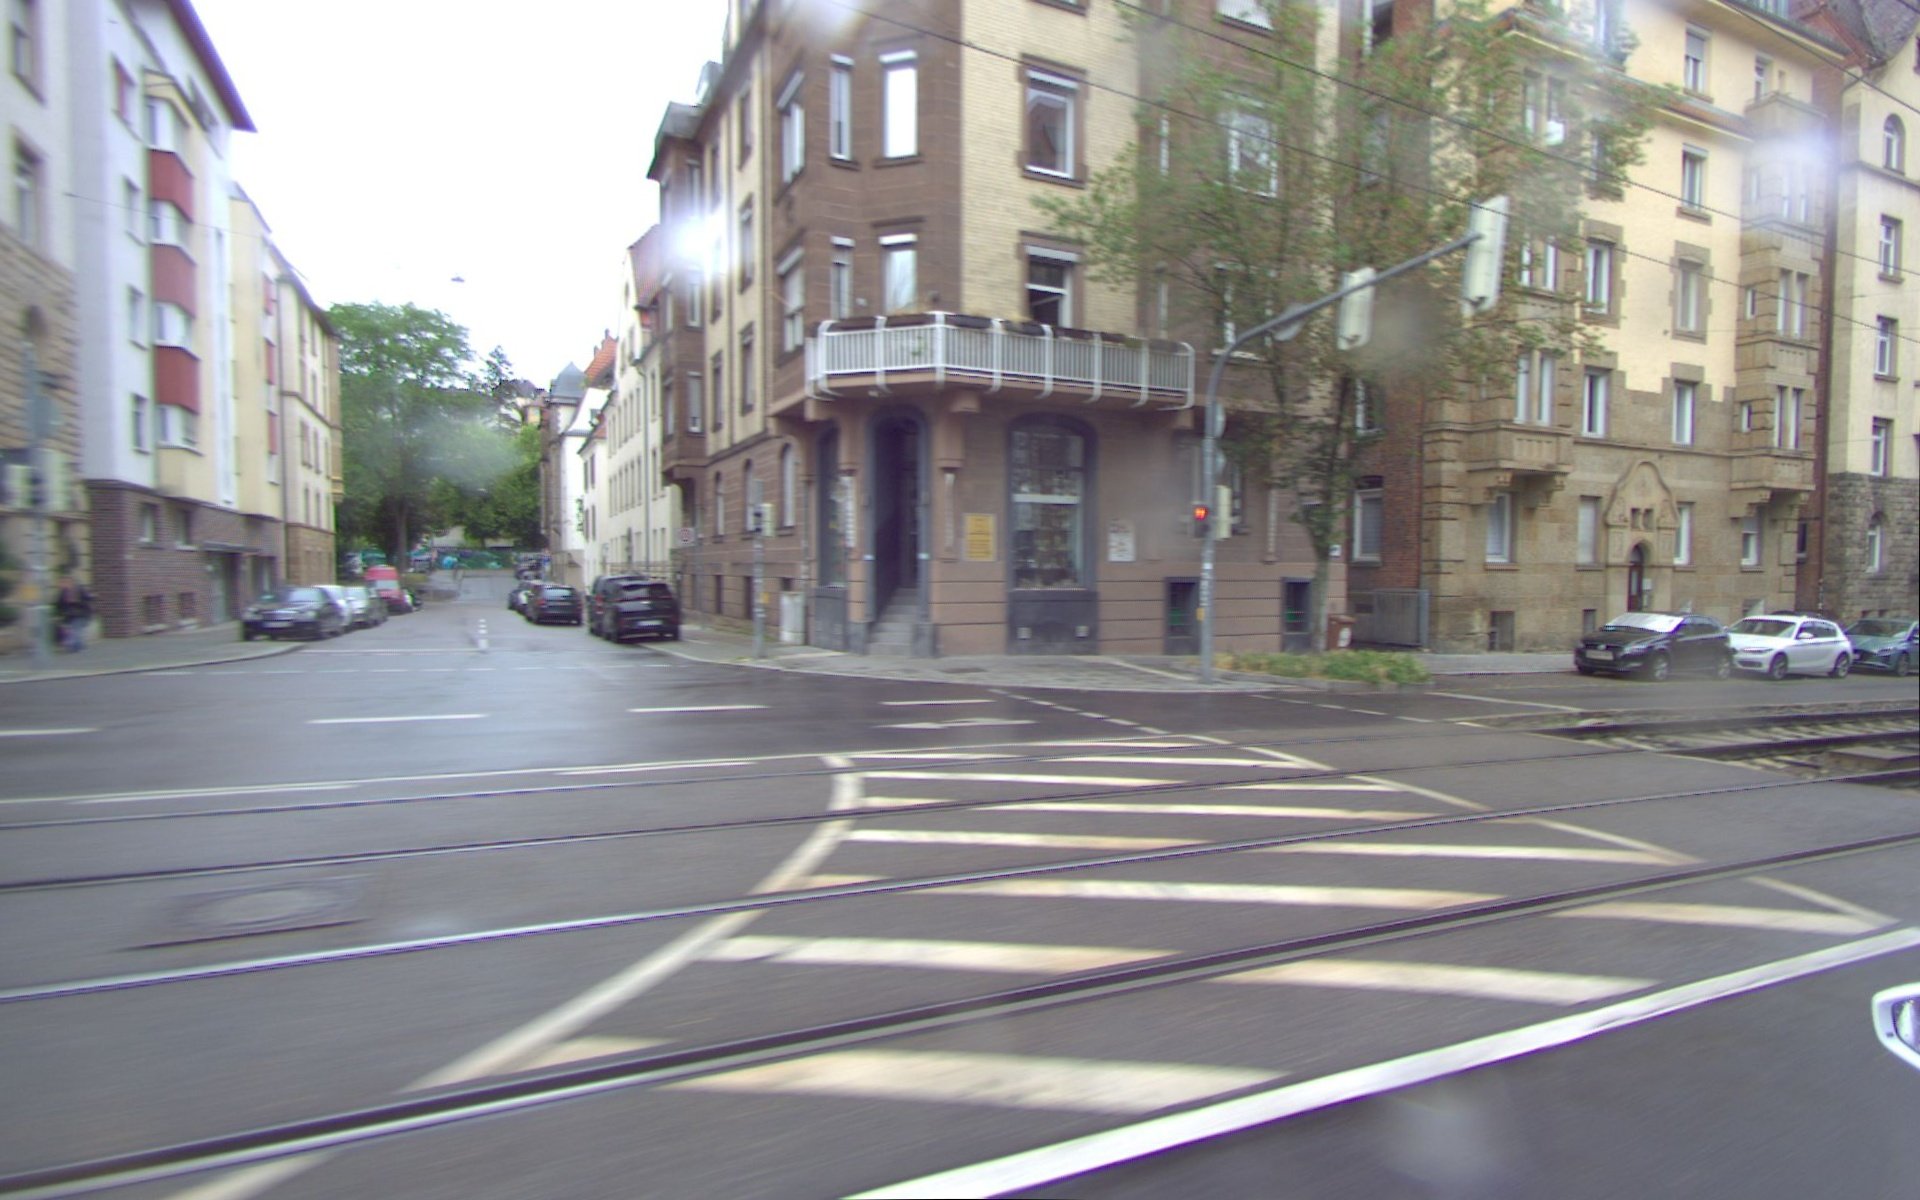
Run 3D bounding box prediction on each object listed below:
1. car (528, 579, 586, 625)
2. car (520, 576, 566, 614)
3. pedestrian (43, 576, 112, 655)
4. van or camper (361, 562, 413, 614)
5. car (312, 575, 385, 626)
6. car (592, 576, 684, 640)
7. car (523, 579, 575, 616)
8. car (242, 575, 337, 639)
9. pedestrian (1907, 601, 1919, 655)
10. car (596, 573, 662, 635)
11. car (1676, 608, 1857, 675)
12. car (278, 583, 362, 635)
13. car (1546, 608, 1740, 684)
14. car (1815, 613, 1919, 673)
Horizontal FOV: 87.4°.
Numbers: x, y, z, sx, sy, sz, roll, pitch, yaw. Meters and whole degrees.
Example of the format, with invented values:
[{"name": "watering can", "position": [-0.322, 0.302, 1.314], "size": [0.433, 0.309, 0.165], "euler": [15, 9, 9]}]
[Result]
[{"name": "car", "position": [-15.629, 0.069, 38.872], "size": [1.811, 1.690, 3.974], "euler": [1, 0, -26]}, {"name": "car", "position": [-20.541, -0.276, 49.414], "size": [1.972, 1.773, 3.977], "euler": [1, 1, -23]}, {"name": "pedestrian", "position": [-16.617, 0.289, 18.931], "size": [0.711, 1.434, 0.815], "euler": [2, 0, -23]}, {"name": "van or camper", "position": [-29.277, -0.615, 51.431], "size": [1.911, 2.512, 4.713], "euler": [1, 1, -26]}, {"name": "car", "position": [-21.272, -0.013, 35.059], "size": [1.767, 1.639, 3.973], "euler": [1, 1, -26]}, {"name": "car", "position": [-8.753, 0.205, 27.069], "size": [1.818, 1.586, 4.197], "euler": [1, 0, -25]}, {"name": "car", "position": [-18.081, -0.136, 44.107], "size": [1.972, 1.506, 3.976], "euler": [1, 1, -24]}, {"name": "car", "position": [-17.095, 0.163, 25.766], "size": [1.699, 1.511, 3.968], "euler": [1, 0, -29]}, {"name": "pedestrian", "position": [32.668, 0.953, 33.689], "size": [0.912, 1.777, 1.004], "euler": [1, 2, -26]}, {"name": "car", "position": [-10.707, 0.084, 32.318], "size": [1.785, 1.836, 3.979], "euler": [1, 1, -21]}, {"name": "car", "position": [19.447, 0.995, 24.204], "size": [4.204, 1.445, 1.662], "euler": [1, 1, -25]}, {"name": "car", "position": [-19.660, 0.260, 30.988], "size": [1.795, 1.502, 3.972], "euler": [1, 0, -27]}, {"name": "car", "position": [15.056, 1.005, 22.146], "size": [3.947, 1.506, 1.759], "euler": [2, 1, -26]}, {"name": "car", "position": [24.899, 1.113, 26.904], "size": [4.091, 1.457, 1.555], "euler": [1, 1, -27]}]
